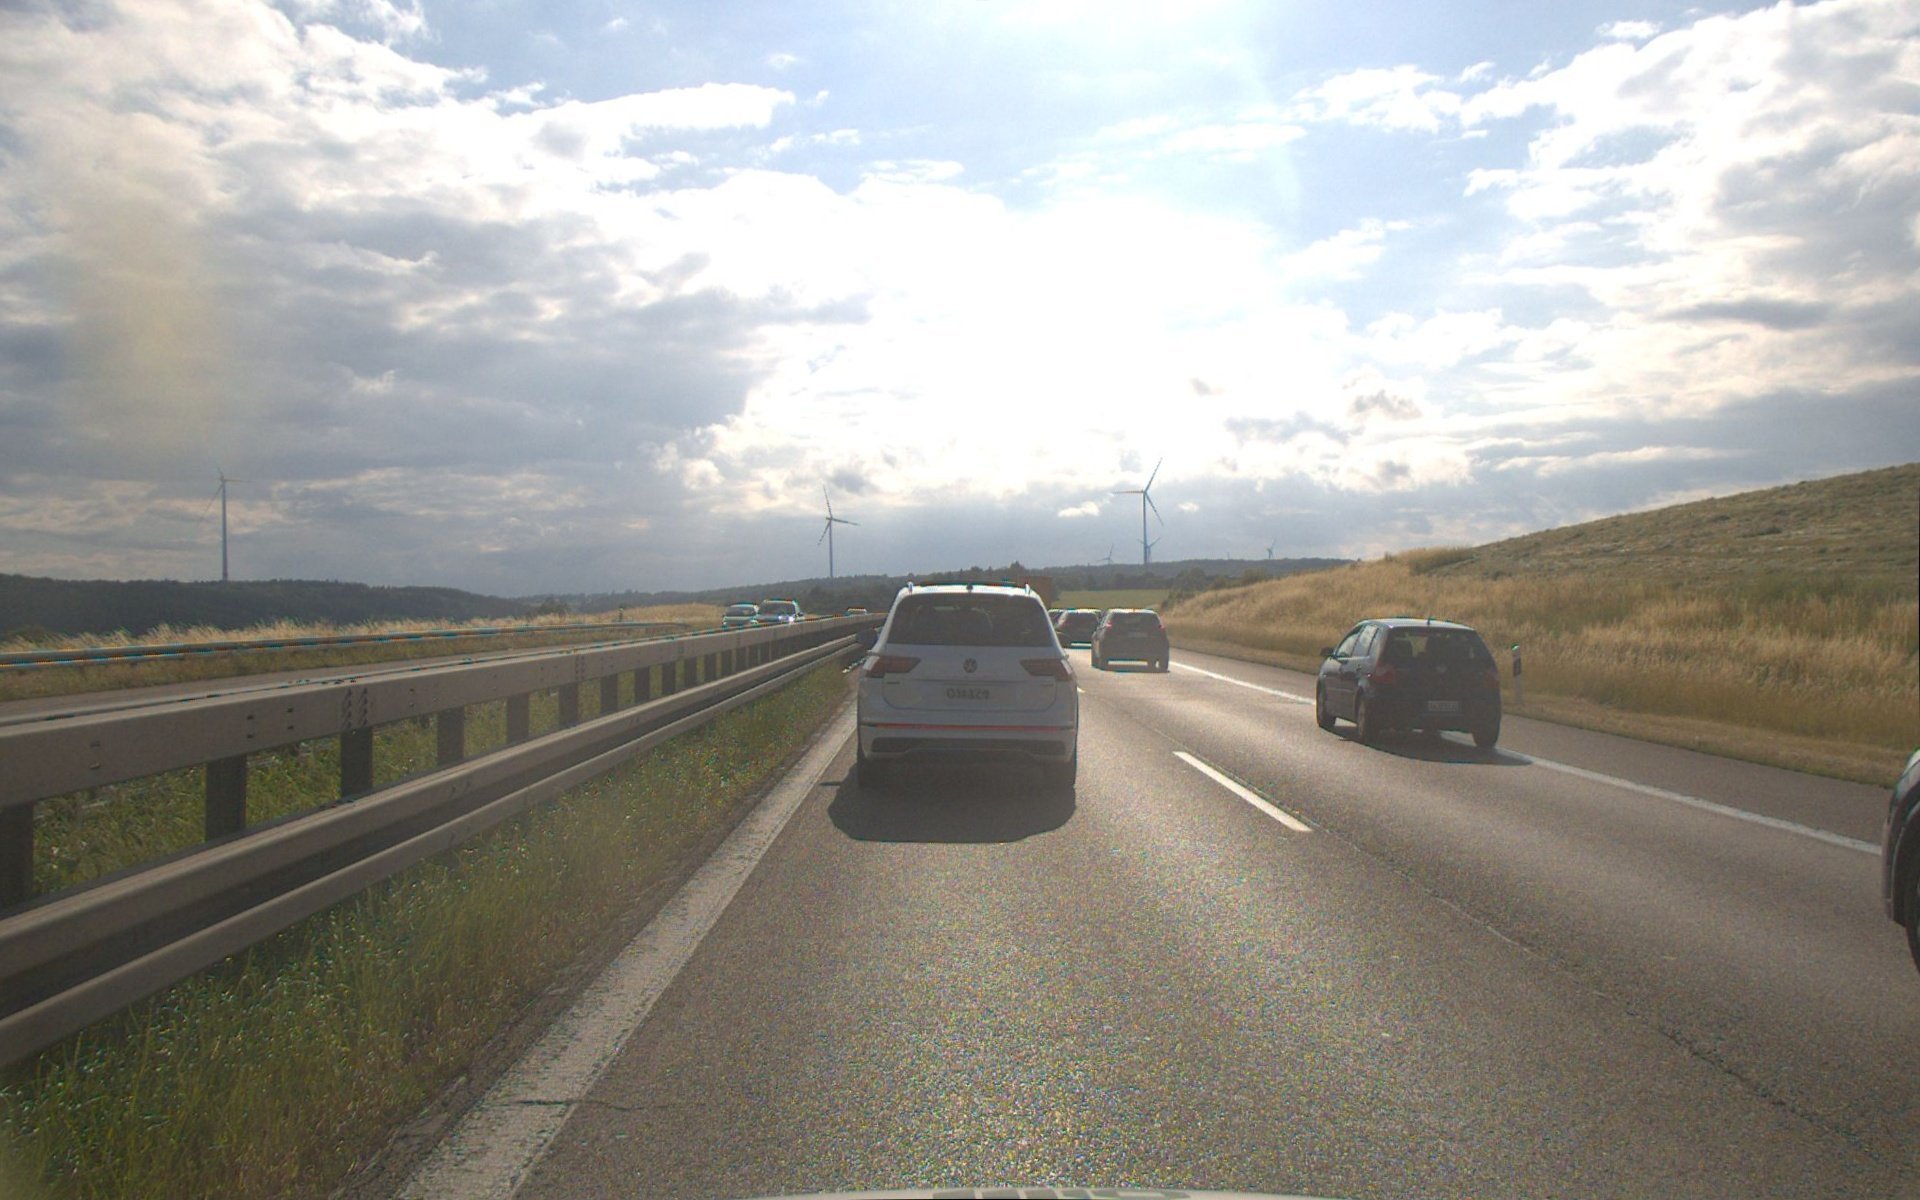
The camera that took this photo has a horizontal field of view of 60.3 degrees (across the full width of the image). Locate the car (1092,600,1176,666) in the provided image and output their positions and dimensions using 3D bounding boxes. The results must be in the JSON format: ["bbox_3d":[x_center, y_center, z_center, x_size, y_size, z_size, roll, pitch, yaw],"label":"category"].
[{"bbox_3d":[4.386,0.819,42.199,1.669,1.573,3.999,1,-1,-1],"label":"car"}]

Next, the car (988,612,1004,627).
[{"bbox_3d":[3.975,2.132,181.700,1.668,1.573,4.001,1,-1,2],"label":"car"}]

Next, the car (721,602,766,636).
[{"bbox_3d":[-10.731,0.948,82.190,1.699,1.616,4.116,1,-1,-1],"label":"car"}]

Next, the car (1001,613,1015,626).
[{"bbox_3d":[5.814,2.348,201.144,1.669,1.573,4.000,1,-1,1],"label":"car"}]

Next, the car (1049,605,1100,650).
[{"bbox_3d":[4.397,1.049,64.031,1.669,1.679,3.999,1,-1,-1],"label":"car"}]

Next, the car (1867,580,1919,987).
[{"bbox_3d":[4.768,0.752,4.907,1.784,1.629,4.234,2,-1,0],"label":"car"}]

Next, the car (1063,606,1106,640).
[{"bbox_3d":[5.842,1.082,78.155,1.669,1.573,3.999,1,-1,-1],"label":"car"}]

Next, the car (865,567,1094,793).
[{"bbox_3d":[0.136,0.634,14.651,1.734,1.705,3.999,1,-1,-1],"label":"car"}]

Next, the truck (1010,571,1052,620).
[{"bbox_3d":[5.550,-0.345,130.733,3.118,3.657,11.132,1,0,1],"label":"truck"}]

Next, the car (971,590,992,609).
[{"bbox_3d":[1.829,-0.051,141.759,1.669,1.573,3.999,1,-1,-1],"label":"car"}]

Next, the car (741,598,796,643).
[{"bbox_3d":[-7.861,0.837,68.205,1.786,1.801,4.362,1,-1,-1],"label":"car"}]

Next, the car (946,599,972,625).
[{"bbox_3d":[-0.075,0.800,111.594,1.669,1.679,3.999,1,-1,-1],"label":"car"}]

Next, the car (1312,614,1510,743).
[{"bbox_3d":[5.512,0.910,20.605,1.572,1.445,3.673,1,-1,2],"label":"car"}]

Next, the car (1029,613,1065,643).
[{"bbox_3d":[4.649,1.485,88.504,1.669,1.573,3.999,1,-1,-1],"label":"car"}]
